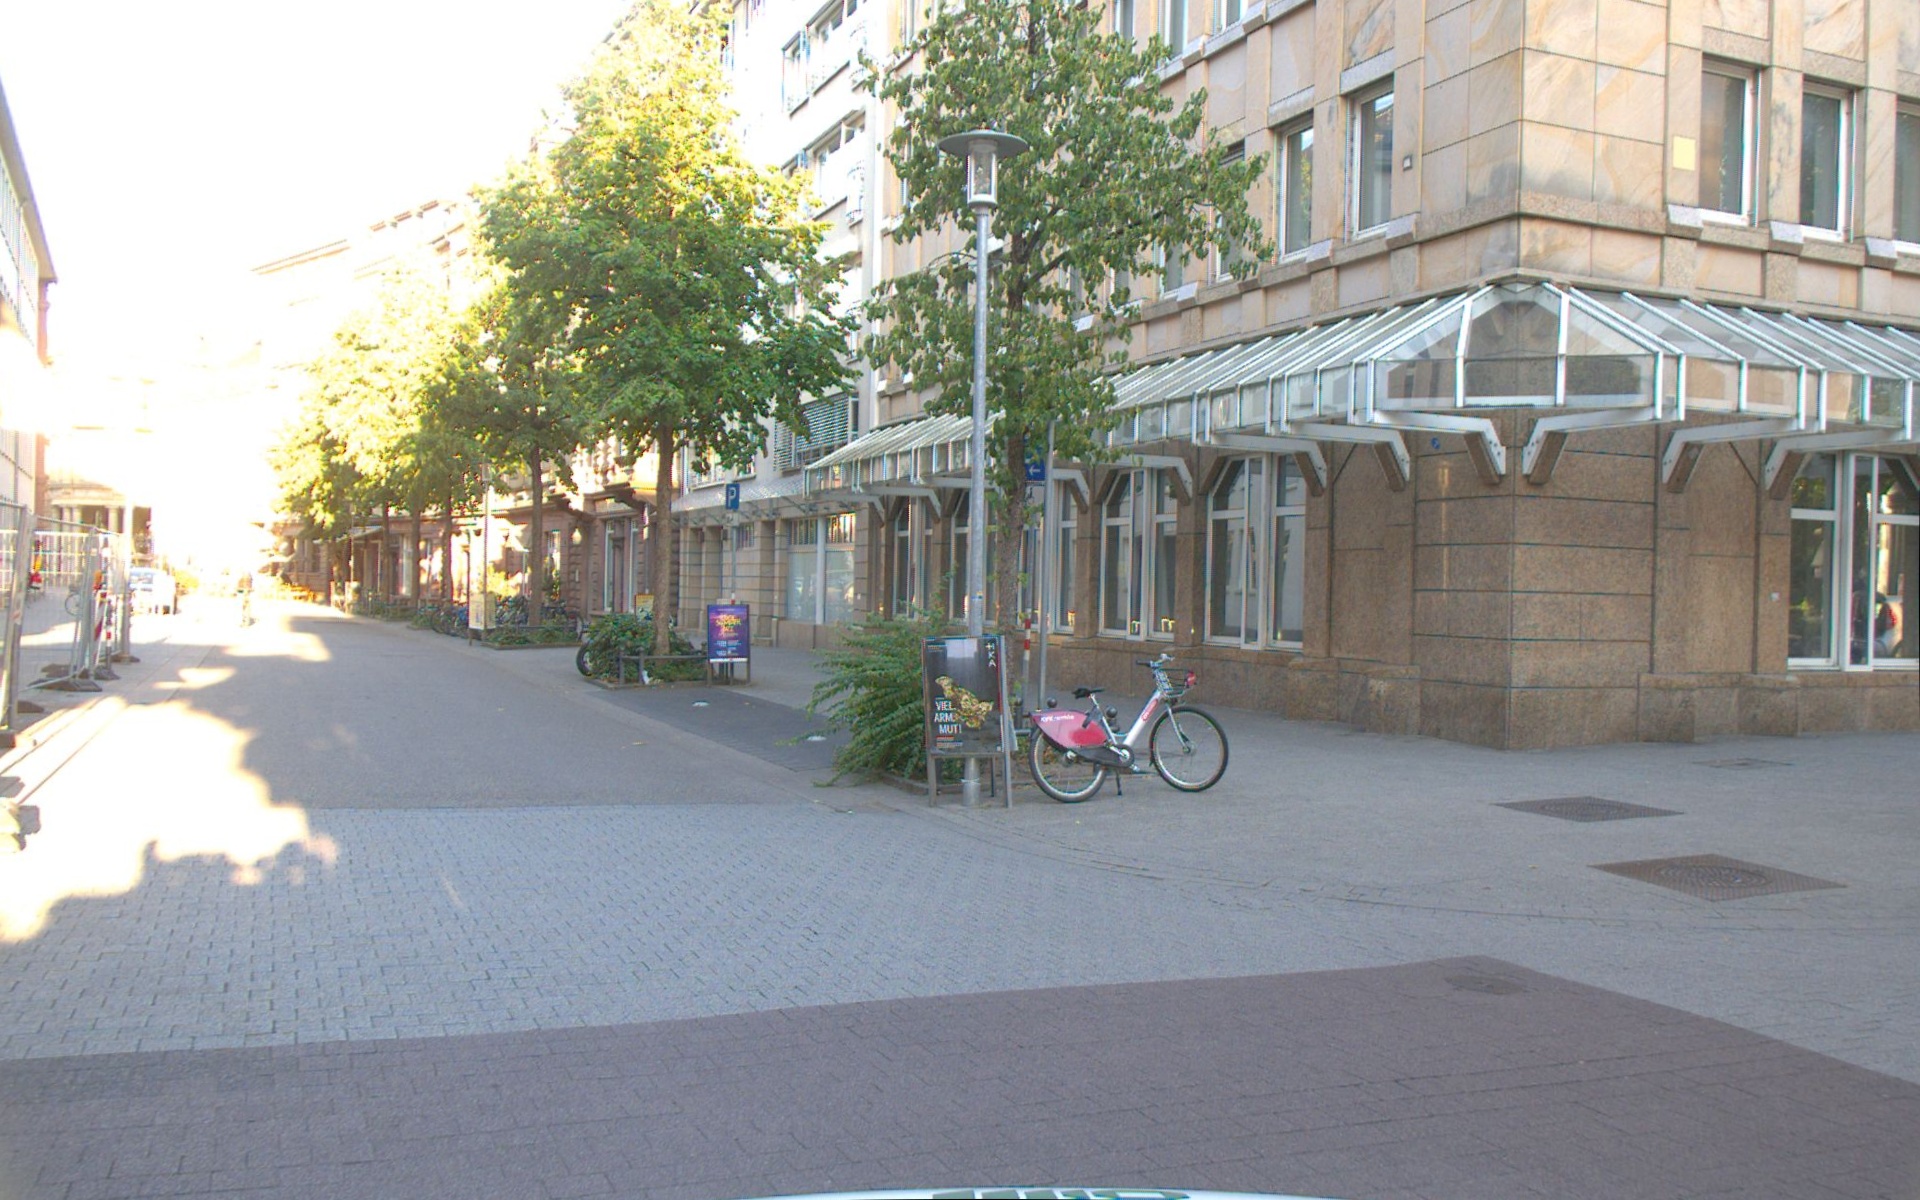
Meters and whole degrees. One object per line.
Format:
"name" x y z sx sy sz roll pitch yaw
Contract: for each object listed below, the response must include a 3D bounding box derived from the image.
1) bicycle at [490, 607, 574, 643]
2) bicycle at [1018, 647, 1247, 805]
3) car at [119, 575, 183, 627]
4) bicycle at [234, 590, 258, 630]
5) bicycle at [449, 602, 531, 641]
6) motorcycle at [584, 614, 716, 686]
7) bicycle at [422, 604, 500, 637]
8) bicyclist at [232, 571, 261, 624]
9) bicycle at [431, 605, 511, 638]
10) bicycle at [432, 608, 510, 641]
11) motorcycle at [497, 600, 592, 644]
"bicycle" -11.346 0.647 43.910 2.139 0.942 0.582 0 0 -40
"bicycle" 1.312 0.951 12.721 1.624 1.069 0.662 -2 2 -6
"car" -27.746 0.012 56.679 1.821 1.713 3.610 0 0 -29
"bicycle" -20.043 0.277 46.433 0.581 1.114 2.143 0 0 -25
"bicycle" -12.849 0.587 45.274 2.114 1.080 0.589 0 0 -10
"motorcycle" -5.170 0.821 27.662 2.127 1.171 0.489 0 -1 -27
"bicycle" -14.808 0.600 49.111 2.132 0.942 0.584 0 0 -32
"bicyclist" -20.047 -0.075 46.478 0.712 1.494 0.712 1 0 -26
"bicycle" -14.008 0.616 47.400 2.132 0.942 0.584 0 0 -32
"bicycle" -14.274 0.700 48.326 2.132 0.942 0.584 0 0 -32
"motorcycle" -10.777 0.570 42.960 0.580 1.114 2.463 0 -1 43
